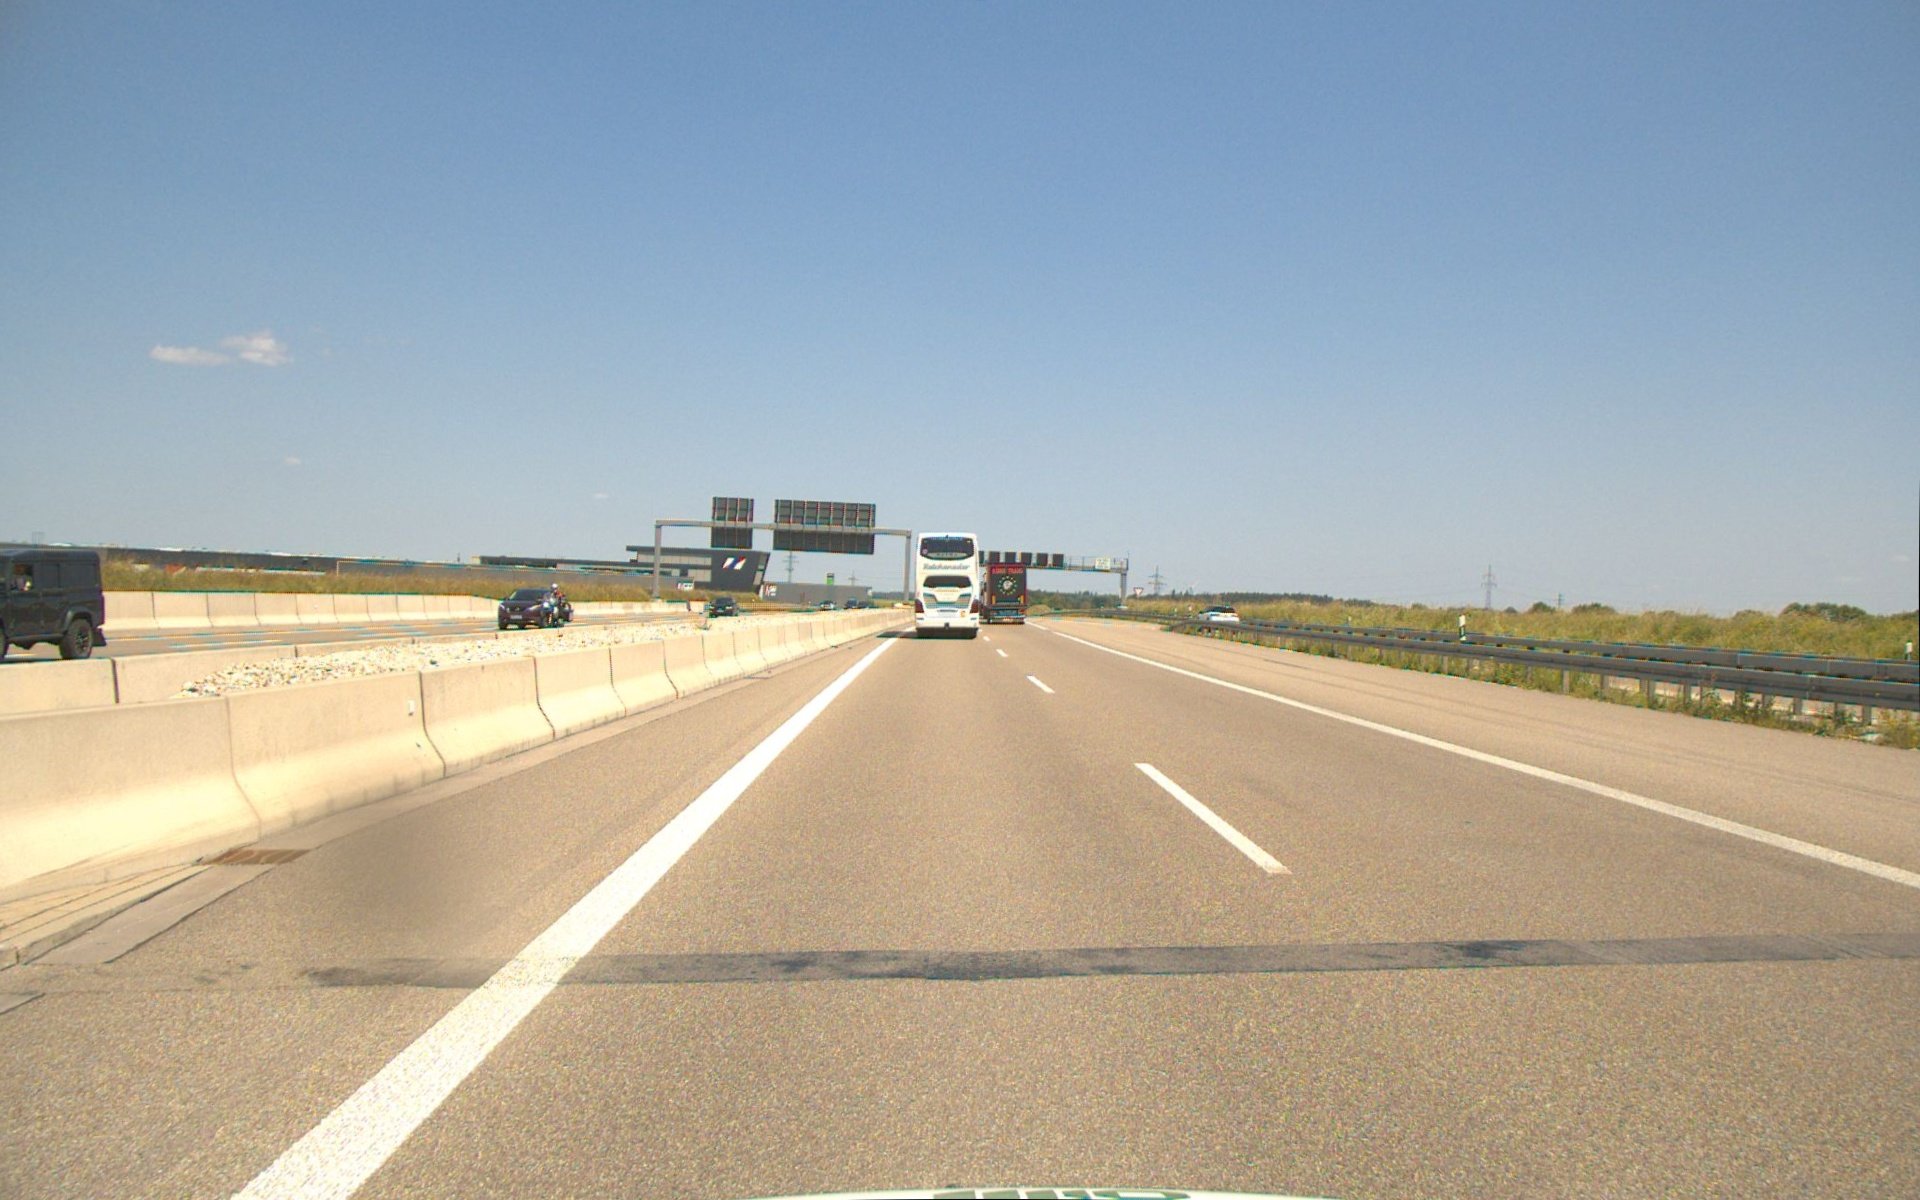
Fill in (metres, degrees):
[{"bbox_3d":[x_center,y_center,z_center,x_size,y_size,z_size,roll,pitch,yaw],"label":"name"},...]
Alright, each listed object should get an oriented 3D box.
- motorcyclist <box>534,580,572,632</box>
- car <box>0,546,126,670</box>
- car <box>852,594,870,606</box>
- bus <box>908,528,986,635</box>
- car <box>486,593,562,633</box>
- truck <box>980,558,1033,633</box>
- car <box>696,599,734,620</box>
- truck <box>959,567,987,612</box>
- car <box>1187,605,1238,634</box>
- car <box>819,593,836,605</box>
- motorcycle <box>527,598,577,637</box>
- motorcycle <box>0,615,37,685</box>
[{"bbox_3d":[-13.099,0.201,53.266,0.901,1.650,1.088,1,0,0],"label":"motorcyclist"},{"bbox_3d":[-16.743,0.118,28.909,1.846,2.053,4.735,1,0,1],"label":"car"},{"bbox_3d":[-11.824,0.018,197.725,1.806,1.406,4.753,1,0,2],"label":"car"},{"bbox_3d":[-0.572,-0.724,67.538,2.920,4.044,9.102,1,0,-1],"label":"bus"},{"bbox_3d":[-17.232,0.496,65.645,1.831,1.517,5.136,1,0,-3],"label":"car"},{"bbox_3d":[3.213,-0.171,113.520,3.309,4.542,13.568,1,-2,2],"label":"truck"},{"bbox_3d":[-17.236,0.681,116.617,1.952,1.403,4.364,1,0,0],"label":"car"},{"bbox_3d":[1.119,-0.922,147.986,2.388,3.855,6.492,1,0,-1],"label":"truck"},{"bbox_3d":[14.289,1.067,93.956,1.854,1.556,4.256,1,0,-6],"label":"car"},{"bbox_3d":[-15.931,-0.095,199.285,1.853,1.352,3.984,1,0,-2],"label":"car"},{"bbox_3d":[-13.139,0.546,53.352,0.938,1.189,2.722,1,0,0],"label":"motorcycle"},{"bbox_3d":[-13.211,0.670,21.581,0.759,0.918,2.705,1,0,1],"label":"motorcycle"}]
